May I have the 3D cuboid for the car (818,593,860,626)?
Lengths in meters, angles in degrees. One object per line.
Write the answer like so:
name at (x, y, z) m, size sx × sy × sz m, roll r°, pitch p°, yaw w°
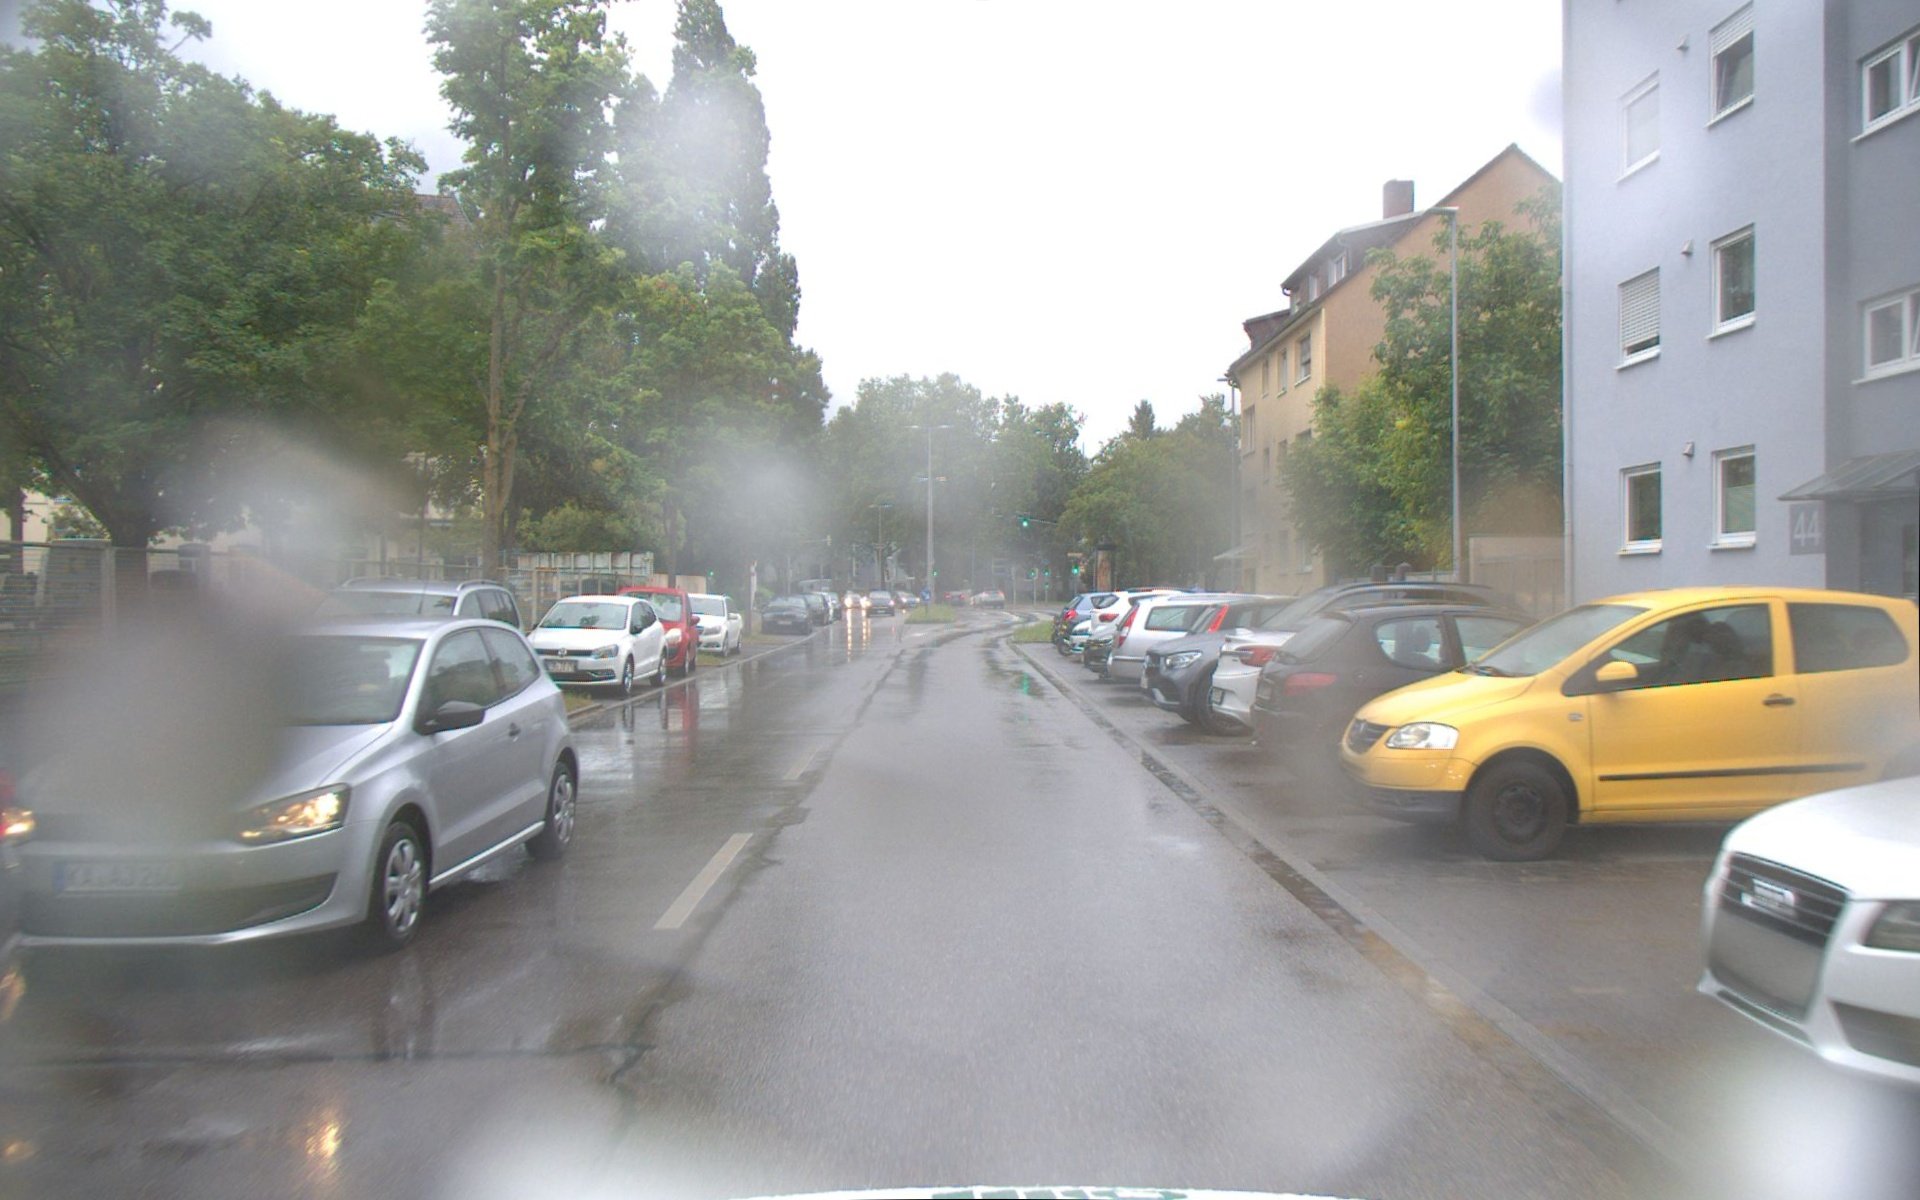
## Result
car at (-6.652, 0.525, 91.099) m, size 1.887 × 1.761 × 4.000 m, roll 1°, pitch 0°, yaw 1°

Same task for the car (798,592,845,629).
car at (-6.739, 0.516, 80.823) m, size 1.887 × 1.761 × 4.000 m, roll 1°, pitch 0°, yaw 1°

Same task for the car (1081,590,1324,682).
car at (4.117, 0.590, 28.467) m, size 3.905 × 1.491 × 1.781 m, roll 1°, pitch 0°, yaw -1°

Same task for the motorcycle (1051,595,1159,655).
motorcycle at (3.323, 0.576, 38.021) m, size 2.352 × 1.347 × 0.918 m, roll 1°, pitch 0°, yaw -5°

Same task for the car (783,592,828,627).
car at (-6.916, 0.414, 74.505) m, size 1.891 × 1.510 × 3.997 m, roll -1°, pitch 0°, yaw -4°

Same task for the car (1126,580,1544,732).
car at (4.125, 0.605, 18.730) m, size 4.253 × 1.579 × 2.039 m, roll 1°, pitch 0°, yaw -1°

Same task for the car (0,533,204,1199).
car at (-3.133, 0.669, 2.300) m, size 1.875 × 1.668 × 4.822 m, roll 1°, pitch 0°, yaw 1°

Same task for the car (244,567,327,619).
car at (-19.989, -0.193, 48.940) m, size 1.688 × 1.459 × 3.610 m, roll 1°, pitch 0°, yaw -32°

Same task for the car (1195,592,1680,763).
car at (4.353, 0.679, 15.596) m, size 4.013 × 1.483 × 2.000 m, roll 0°, pitch 0°, yaw 1°

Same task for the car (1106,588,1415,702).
car at (4.192, 0.605, 23.694) m, size 4.179 × 1.479 × 1.985 m, roll 1°, pitch 1°, yaw 5°

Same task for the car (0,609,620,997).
car at (-3.070, 0.774, 8.341) m, size 1.637 × 1.407 × 4.253 m, roll 0°, pitch 0°, yaw 3°

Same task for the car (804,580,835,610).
car at (-15.793, -0.586, 185.254) m, size 2.188 × 3.294 × 4.639 m, roll 1°, pitch 0°, yaw -22°

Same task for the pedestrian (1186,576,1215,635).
pedestrian at (8.401, 0.197, 57.710) m, size 0.989 × 2.049 × 0.953 m, roll 1°, pitch 0°, yaw 9°

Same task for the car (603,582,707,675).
car at (-5.719, 0.503, 31.379) m, size 1.594 × 1.626 × 4.196 m, roll 1°, pitch 0°, yaw -6°

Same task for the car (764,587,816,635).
car at (-6.181, 0.362, 59.714) m, size 1.742 × 1.556 × 3.994 m, roll 1°, pitch 2°, yaw -8°

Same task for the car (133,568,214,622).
car at (-22.402, -0.149, 47.068) m, size 1.688 × 1.459 × 3.610 m, roll 1°, pitch 0°, yaw -32°

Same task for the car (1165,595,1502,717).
car at (4.712, 0.685, 21.284) m, size 3.906 × 1.436 × 1.845 m, roll 1°, pitch 1°, yaw -1°

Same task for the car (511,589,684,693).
car at (-5.591, 0.593, 26.011) m, size 1.626 × 1.486 × 4.174 m, roll 1°, pitch 0°, yaw 2°

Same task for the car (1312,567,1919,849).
car at (4.380, 0.626, 10.381) m, size 3.907 × 1.579 × 1.852 m, roll 1°, pitch 0°, yaw -2°

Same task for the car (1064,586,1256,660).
car at (4.324, 0.495, 36.129) m, size 3.908 × 1.516 × 1.861 m, roll 1°, pitch 0°, yaw -4°

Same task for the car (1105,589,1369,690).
car at (4.310, 0.600, 26.196) m, size 3.904 × 1.499 × 1.803 m, roll 1°, pitch 0°, yaw 2°

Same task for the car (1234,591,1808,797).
car at (4.261, 0.693, 12.988) m, size 3.906 × 1.467 × 1.781 m, roll 1°, pitch 0°, yaw -1°

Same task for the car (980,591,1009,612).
car at (2.536, 0.112, 122.416) m, size 1.813 × 1.551 × 3.996 m, roll 0°, pitch 0°, yaw -4°

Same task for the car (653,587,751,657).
car at (-6.122, 0.494, 39.690) m, size 1.732 × 1.555 × 4.596 m, roll 1°, pitch 0°, yaw -1°

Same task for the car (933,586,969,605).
car at (-0.750, -0.392, 136.914) m, size 1.820 × 1.551 × 4.133 m, roll 0°, pitch 0°, yaw -17°

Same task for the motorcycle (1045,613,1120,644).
motorcycle at (3.373, 0.781, 45.522) m, size 2.028 × 0.806 × 0.711 m, roll 1°, pitch 0°, yaw 6°

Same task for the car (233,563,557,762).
car at (-5.611, 0.532, 17.098) m, size 1.739 × 1.709 × 4.600 m, roll 2°, pitch 1°, yaw 0°

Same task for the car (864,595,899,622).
car at (-4.586, 0.472, 97.086) m, size 1.953 × 1.512 × 3.999 m, roll 1°, pitch 0°, yaw -1°

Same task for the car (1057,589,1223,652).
car at (4.403, 0.499, 40.915) m, size 3.905 × 1.487 × 1.934 m, roll 1°, pitch 0°, yaw 0°

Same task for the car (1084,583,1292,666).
car at (4.581, 0.490, 33.582) m, size 3.907 × 1.579 × 1.904 m, roll 1°, pitch 0°, yaw -3°

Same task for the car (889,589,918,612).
car at (-4.467, 0.047, 130.281) m, size 1.708 × 1.718 × 3.991 m, roll 1°, pitch 0°, yaw -9°

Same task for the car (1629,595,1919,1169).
car at (4.736, 0.747, 5.115) m, size 4.532 × 1.461 × 2.000 m, roll 1°, pitch 0°, yaw 1°

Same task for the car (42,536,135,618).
car at (-24.240, -0.616, 45.938) m, size 1.975 × 2.159 × 3.956 m, roll 1°, pitch 0°, yaw -32°
